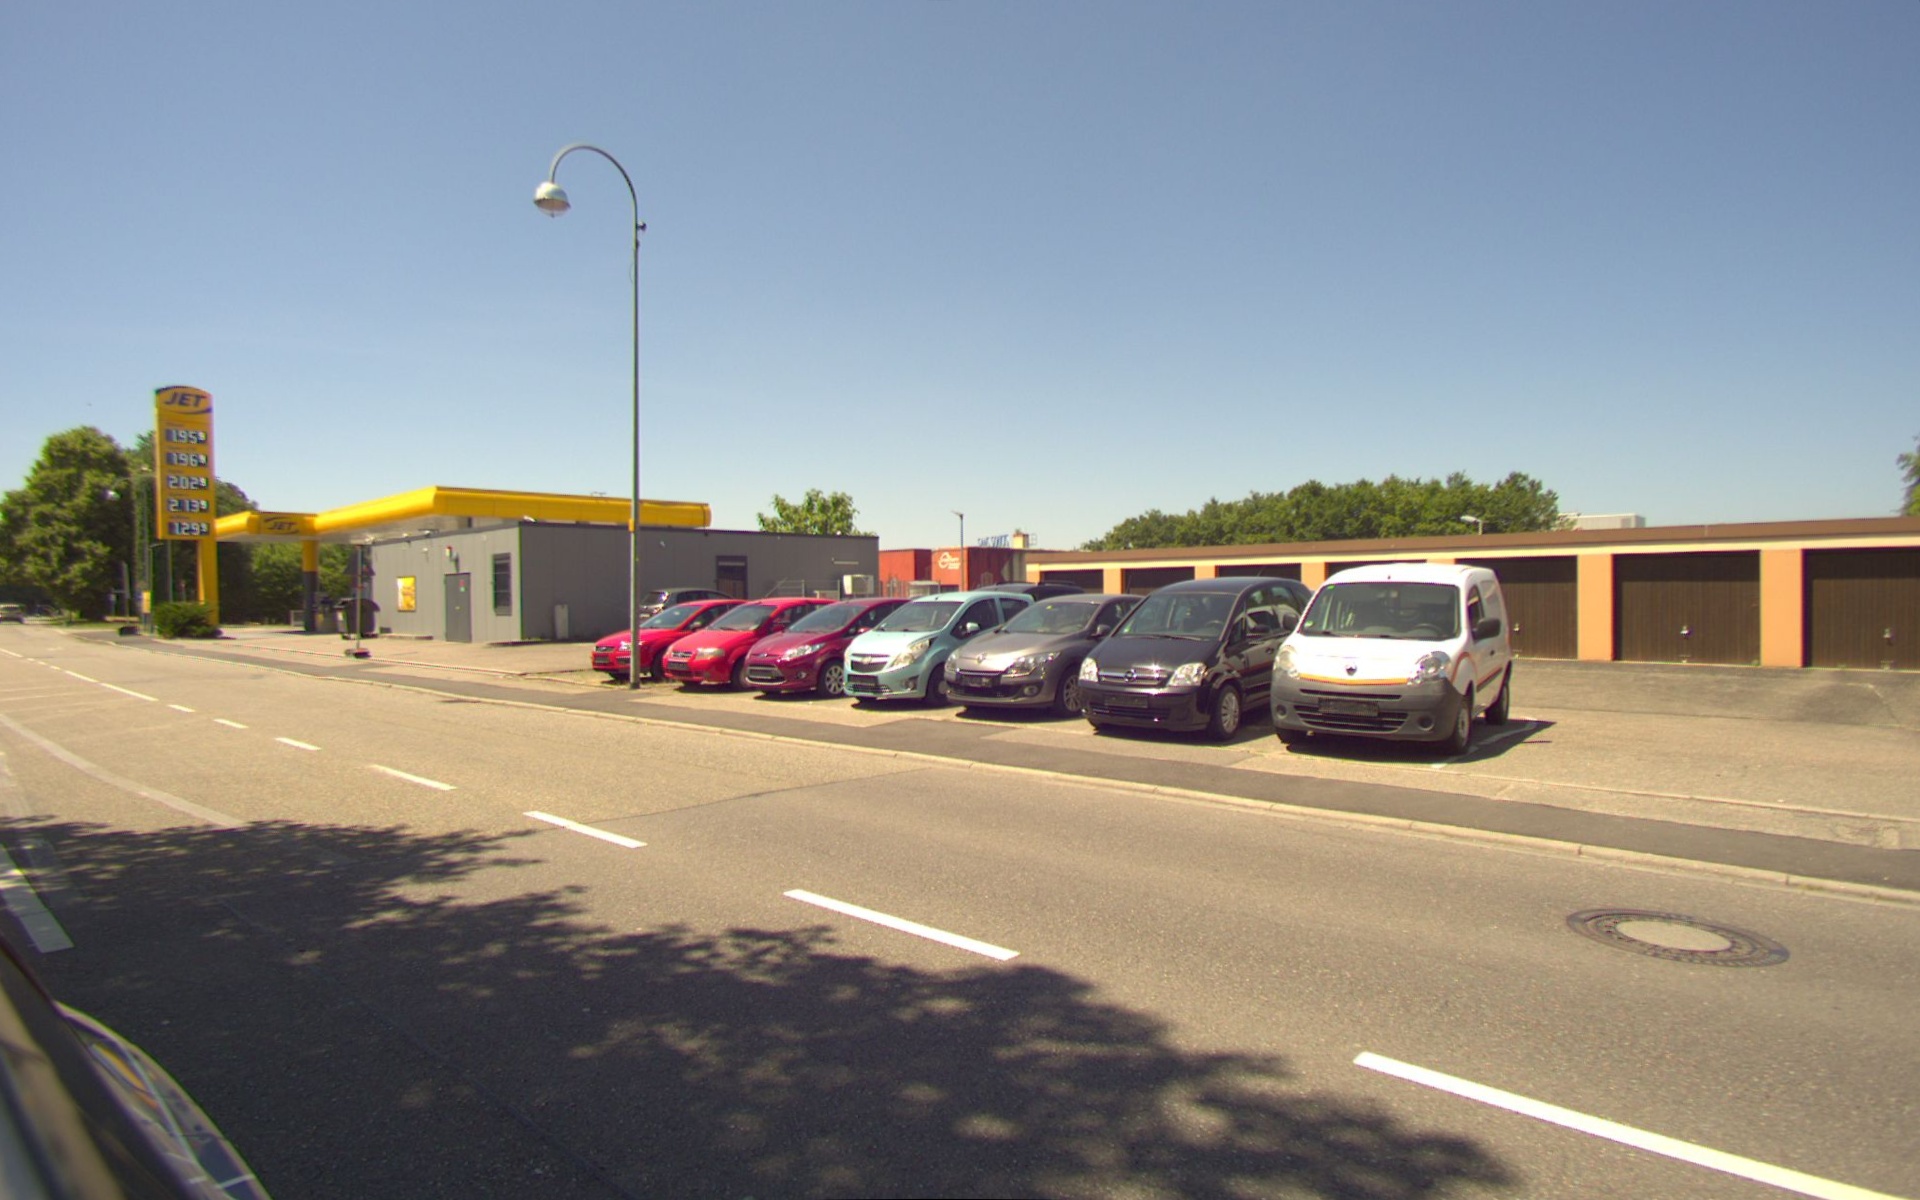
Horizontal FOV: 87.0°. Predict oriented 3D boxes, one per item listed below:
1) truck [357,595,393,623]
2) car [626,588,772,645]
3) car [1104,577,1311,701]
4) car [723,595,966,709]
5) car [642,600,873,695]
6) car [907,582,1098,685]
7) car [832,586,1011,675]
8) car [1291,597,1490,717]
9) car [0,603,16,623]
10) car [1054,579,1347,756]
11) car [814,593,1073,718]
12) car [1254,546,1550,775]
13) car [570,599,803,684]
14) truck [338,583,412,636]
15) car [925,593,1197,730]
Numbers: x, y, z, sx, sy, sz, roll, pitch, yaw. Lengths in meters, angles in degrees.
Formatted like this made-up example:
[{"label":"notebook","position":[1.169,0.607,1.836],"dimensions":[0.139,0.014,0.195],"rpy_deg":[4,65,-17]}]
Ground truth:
[{"label":"truck","position":[-64.782,0.959,111.979],"dimensions":[2.402,2.950,8.181],"rpy_deg":[-1,0,-37]},{"label":"car","position":[-7.815,0.455,30.562],"dimensions":[1.755,1.596,3.942],"rpy_deg":[0,0,44]},{"label":"car","position":[4.131,0.554,16.549],"dimensions":[1.921,1.789,3.627],"rpy_deg":[0,0,39]},{"label":"car","position":[-1.768,0.731,16.318],"dimensions":[1.880,1.617,3.627],"rpy_deg":[0,0,39]},{"label":"car","position":[-3.468,0.744,17.809],"dimensions":[1.891,1.468,3.627],"rpy_deg":[0,0,39]},{"label":"car","position":[0.915,0.585,19.893],"dimensions":[1.857,1.819,3.811],"rpy_deg":[0,0,39]},{"label":"car","position":[-0.745,0.576,21.496],"dimensions":[1.890,1.722,3.628],"rpy_deg":[0,0,39]},{"label":"car","position":[6.906,0.792,16.019],"dimensions":[1.829,1.580,3.947],"rpy_deg":[-1,0,40]},{"label":"car","position":[-82.416,1.134,86.930],"dimensions":[1.945,1.685,4.253],"rpy_deg":[0,-1,-43]},{"label":"car","position":[2.892,0.637,11.687],"dimensions":[1.921,1.685,3.627],"rpy_deg":[0,0,39]},{"label":"car","position":[-0.141,0.696,14.848],"dimensions":[1.921,1.593,3.627],"rpy_deg":[0,0,39]},{"label":"car","position":[4.810,0.495,10.684],"dimensions":[1.997,1.912,4.056],"rpy_deg":[0,0,37]},{"label":"car","position":[-5.213,0.714,19.720],"dimensions":[1.826,1.455,4.083],"rpy_deg":[0,0,41]},{"label":"truck","position":[-30.705,0.463,53.035],"dimensions":[2.205,2.618,6.743],"rpy_deg":[0,0,-40]},{"label":"car","position":[1.449,0.686,13.466],"dimensions":[1.921,1.543,3.627],"rpy_deg":[0,0,39]}]
